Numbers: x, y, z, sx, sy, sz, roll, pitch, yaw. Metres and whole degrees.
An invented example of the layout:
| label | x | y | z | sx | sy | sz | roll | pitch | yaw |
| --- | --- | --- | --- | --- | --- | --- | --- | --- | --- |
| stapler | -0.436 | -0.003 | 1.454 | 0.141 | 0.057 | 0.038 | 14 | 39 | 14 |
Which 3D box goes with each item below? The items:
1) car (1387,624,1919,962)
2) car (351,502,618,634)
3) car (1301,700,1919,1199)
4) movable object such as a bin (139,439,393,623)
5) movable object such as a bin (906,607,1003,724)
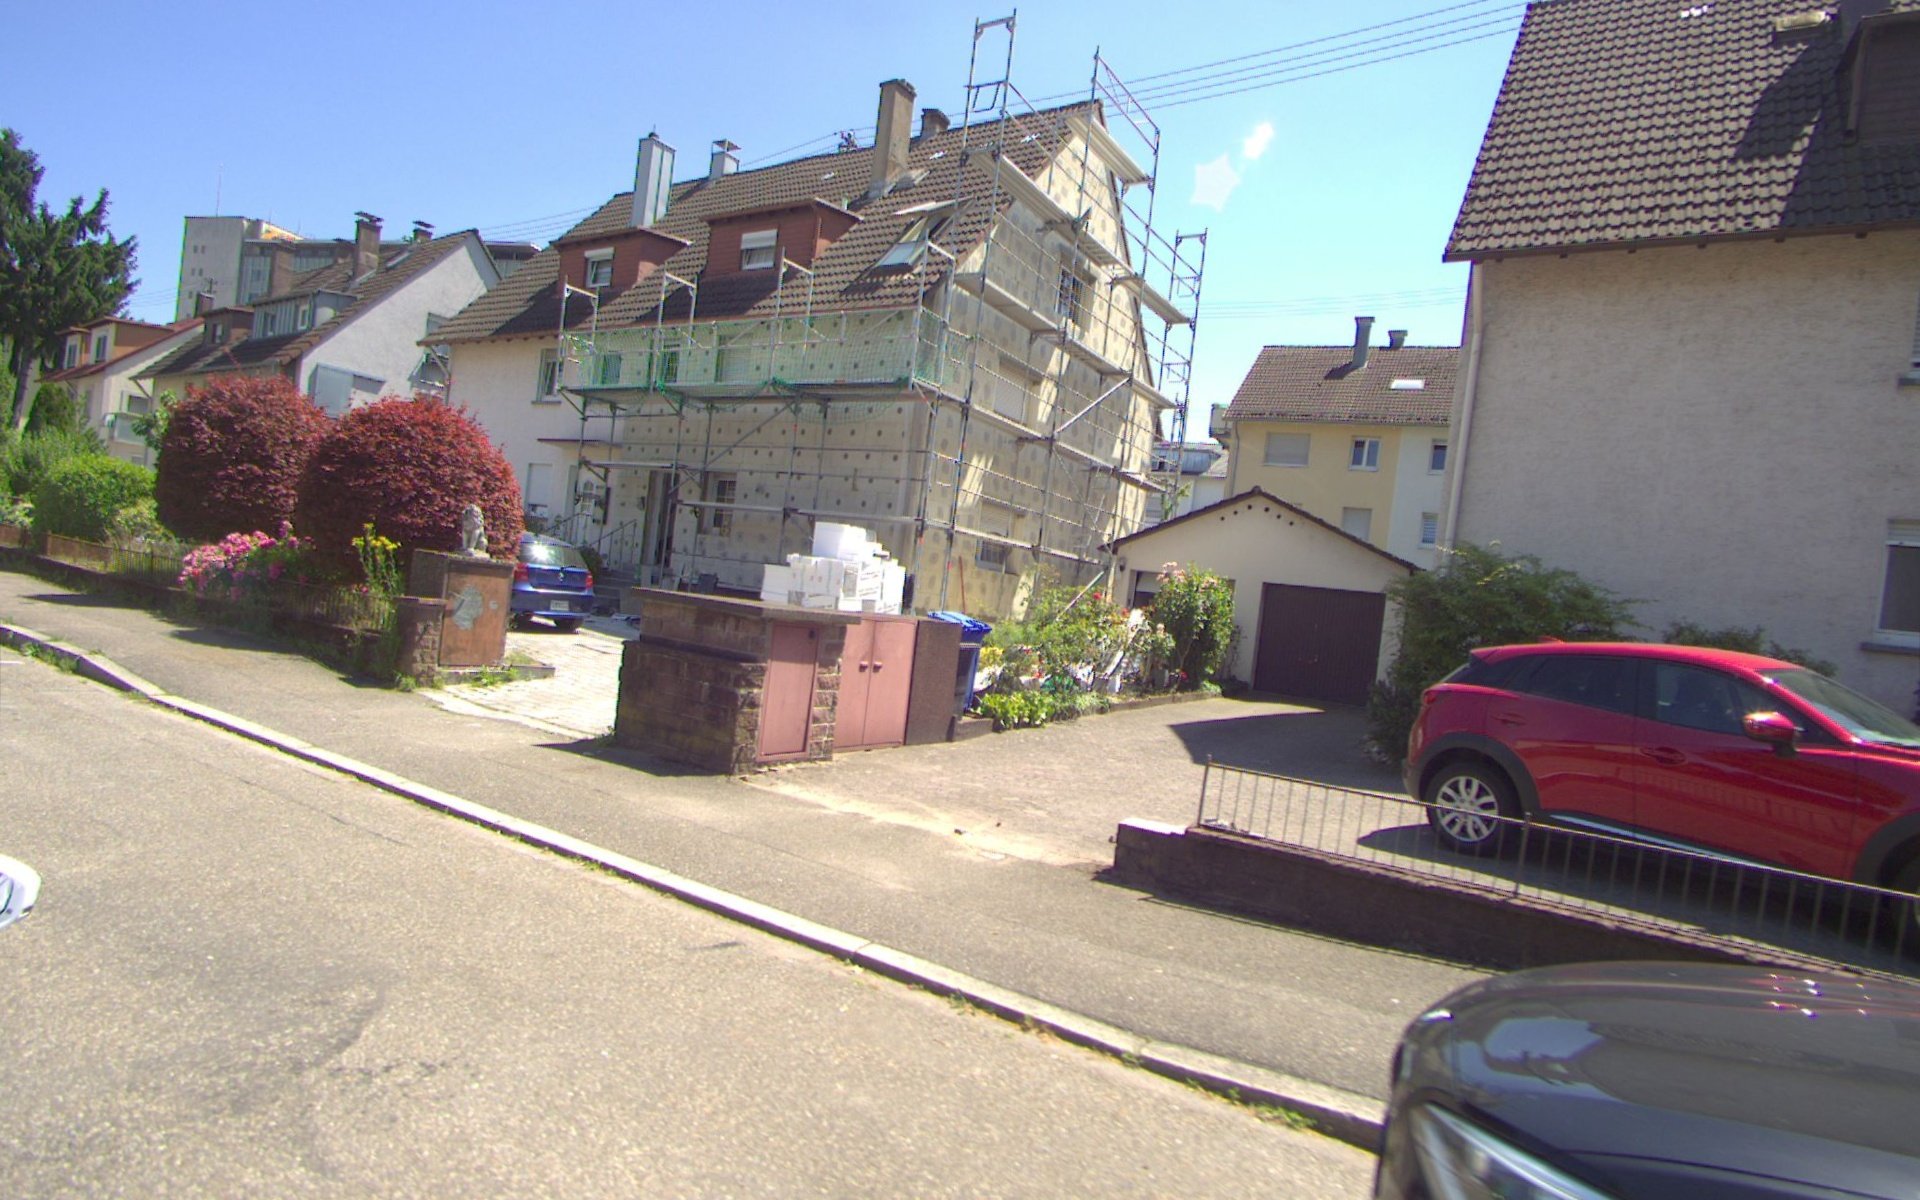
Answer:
| label | x | y | z | sx | sy | sz | roll | pitch | yaw |
| --- | --- | --- | --- | --- | --- | --- | --- | --- | --- |
| car | 5.012 | 1.052 | 6.225 | 1.727 | 1.554 | 4.016 | 4 | -1 | -34 |
| car | -7.441 | -0.507 | 15.660 | 3.932 | 1.530 | 1.795 | 8 | 3 | 31 |
| car | 2.659 | 1.149 | 1.354 | 3.933 | 1.415 | 1.659 | 7 | 0 | 31 |
| movable object such as a bin | -12.454 | -1.164 | 18.215 | 1.679 | 2.779 | 3.150 | 7 | -1 | 32 |
| movable object such as a bin | -0.066 | 0.739 | 11.740 | 0.737 | 1.236 | 0.756 | 7 | 5 | 37 |
